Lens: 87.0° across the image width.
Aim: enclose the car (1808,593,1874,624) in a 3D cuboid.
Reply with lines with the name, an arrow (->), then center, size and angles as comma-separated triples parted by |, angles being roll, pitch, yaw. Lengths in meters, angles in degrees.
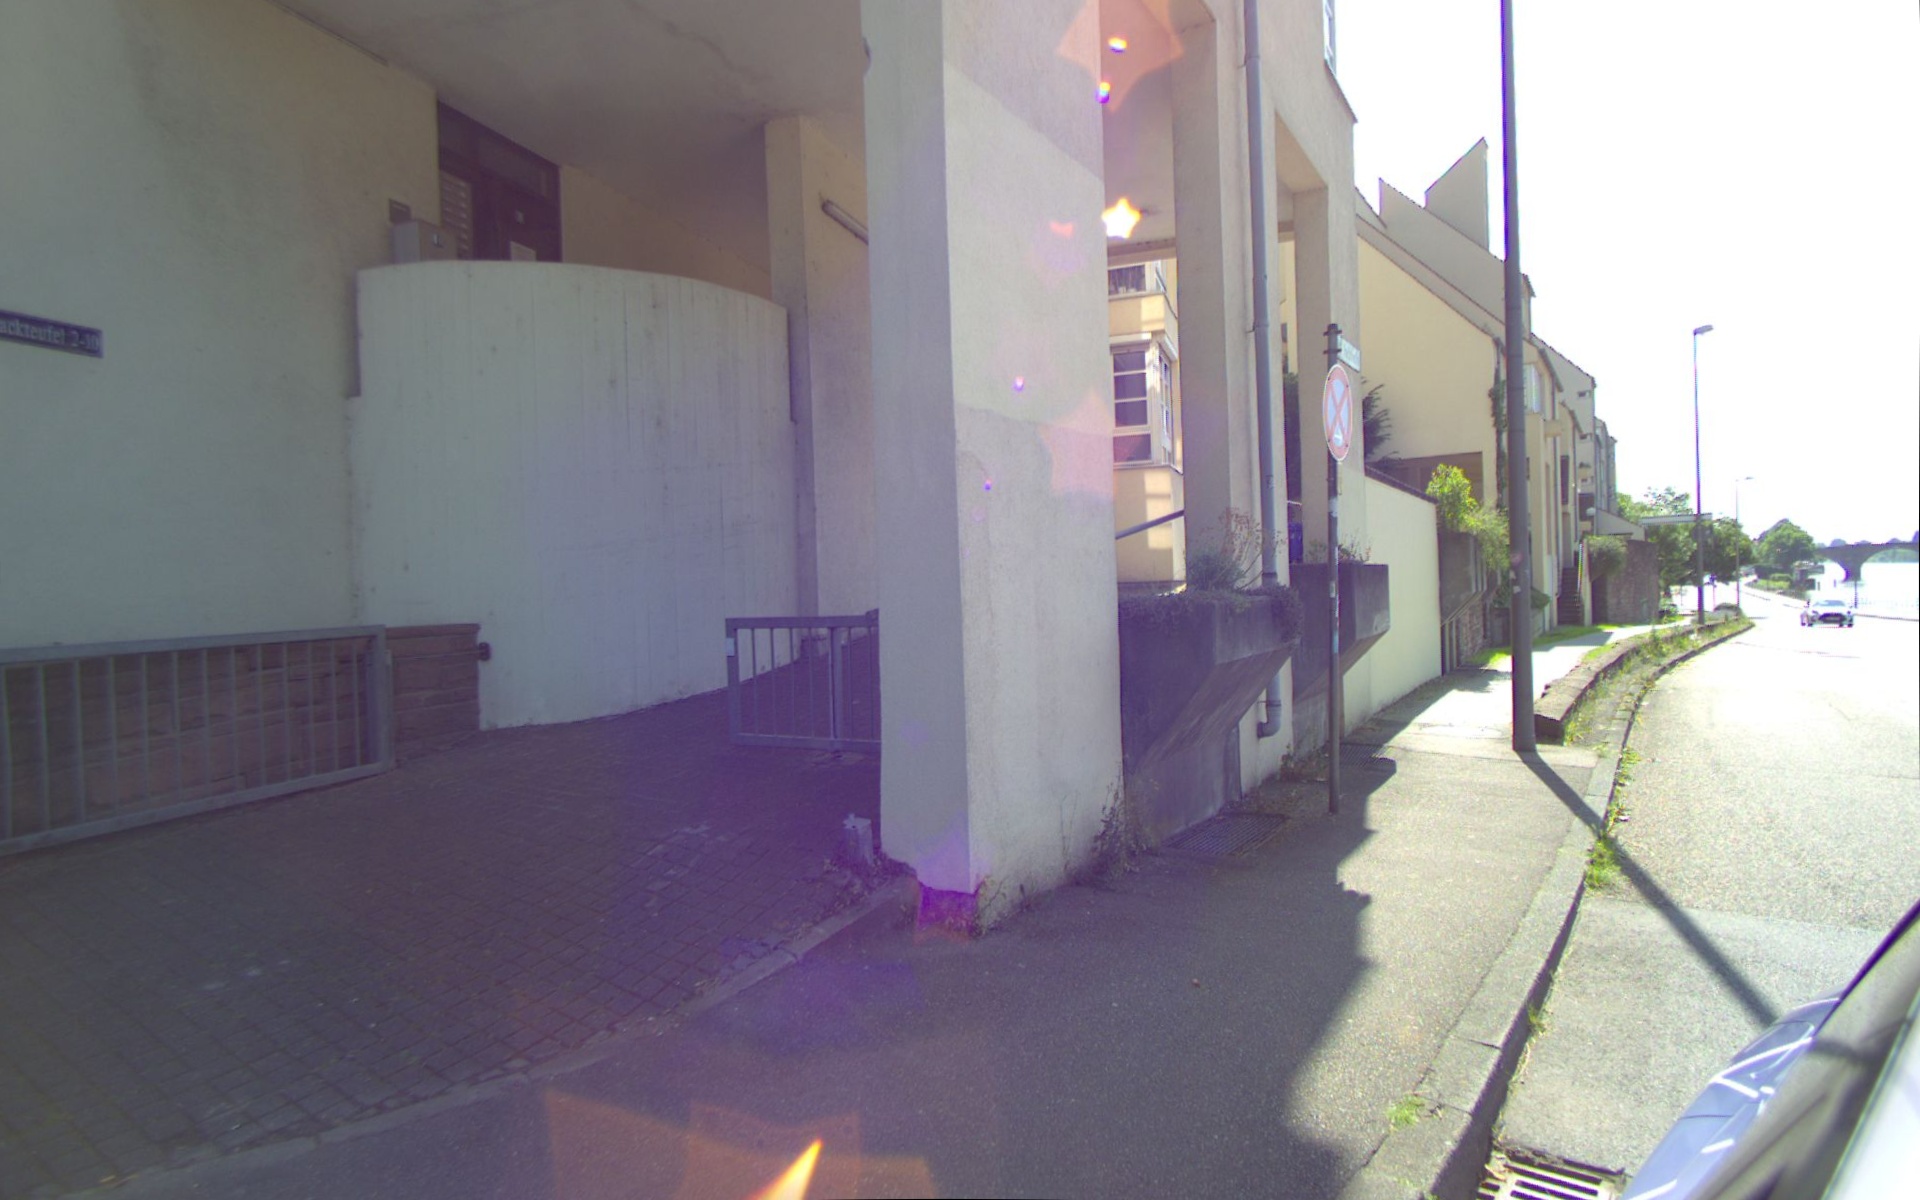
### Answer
car -> 43.821, 0.387, 50.422 | 1.986, 1.460, 3.951 | 0, 1, 34
